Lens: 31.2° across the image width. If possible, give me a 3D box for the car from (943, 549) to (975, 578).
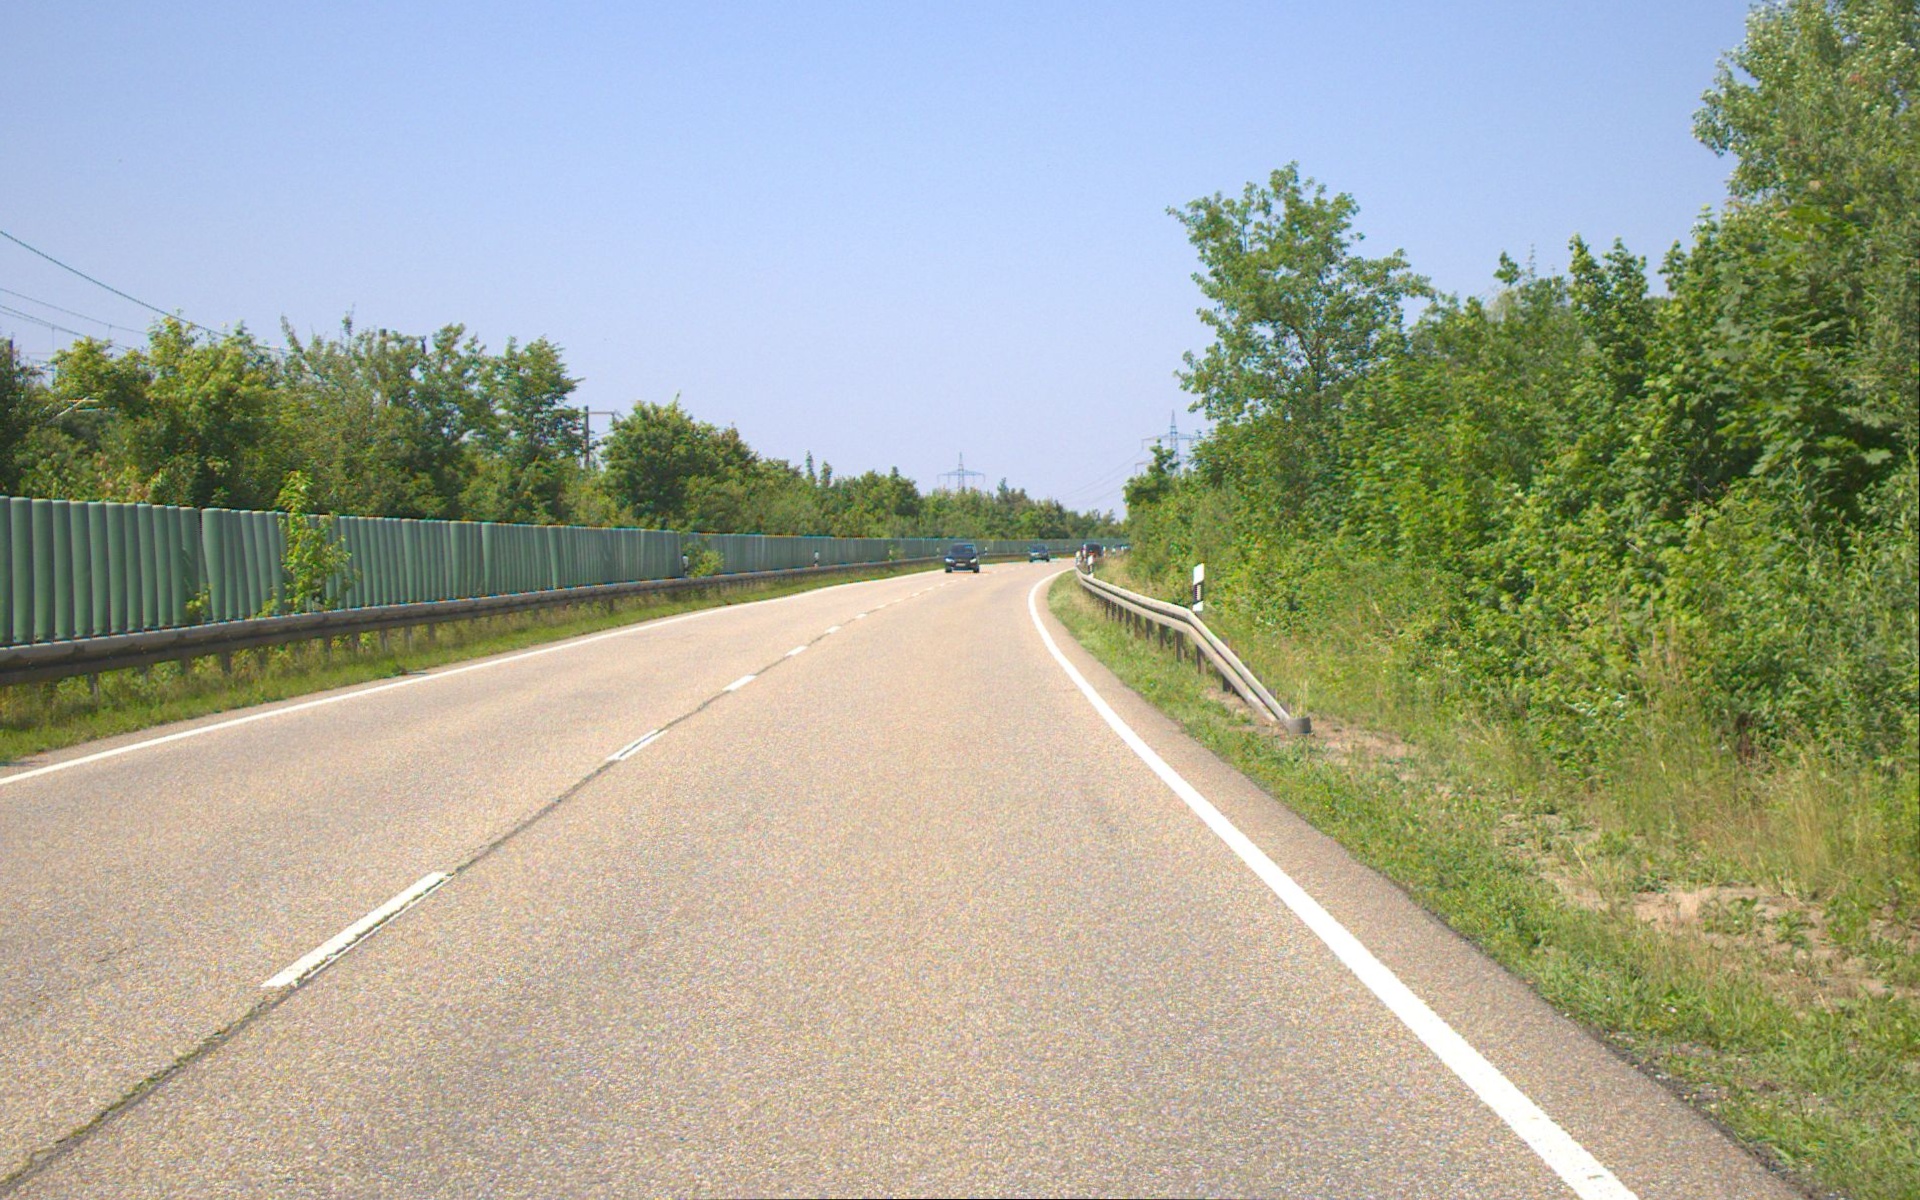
[{"bbox_3d":[-0.049,-2.046,192.389,1.764,1.634,4.126,0,1,1],"label":"car"}]
